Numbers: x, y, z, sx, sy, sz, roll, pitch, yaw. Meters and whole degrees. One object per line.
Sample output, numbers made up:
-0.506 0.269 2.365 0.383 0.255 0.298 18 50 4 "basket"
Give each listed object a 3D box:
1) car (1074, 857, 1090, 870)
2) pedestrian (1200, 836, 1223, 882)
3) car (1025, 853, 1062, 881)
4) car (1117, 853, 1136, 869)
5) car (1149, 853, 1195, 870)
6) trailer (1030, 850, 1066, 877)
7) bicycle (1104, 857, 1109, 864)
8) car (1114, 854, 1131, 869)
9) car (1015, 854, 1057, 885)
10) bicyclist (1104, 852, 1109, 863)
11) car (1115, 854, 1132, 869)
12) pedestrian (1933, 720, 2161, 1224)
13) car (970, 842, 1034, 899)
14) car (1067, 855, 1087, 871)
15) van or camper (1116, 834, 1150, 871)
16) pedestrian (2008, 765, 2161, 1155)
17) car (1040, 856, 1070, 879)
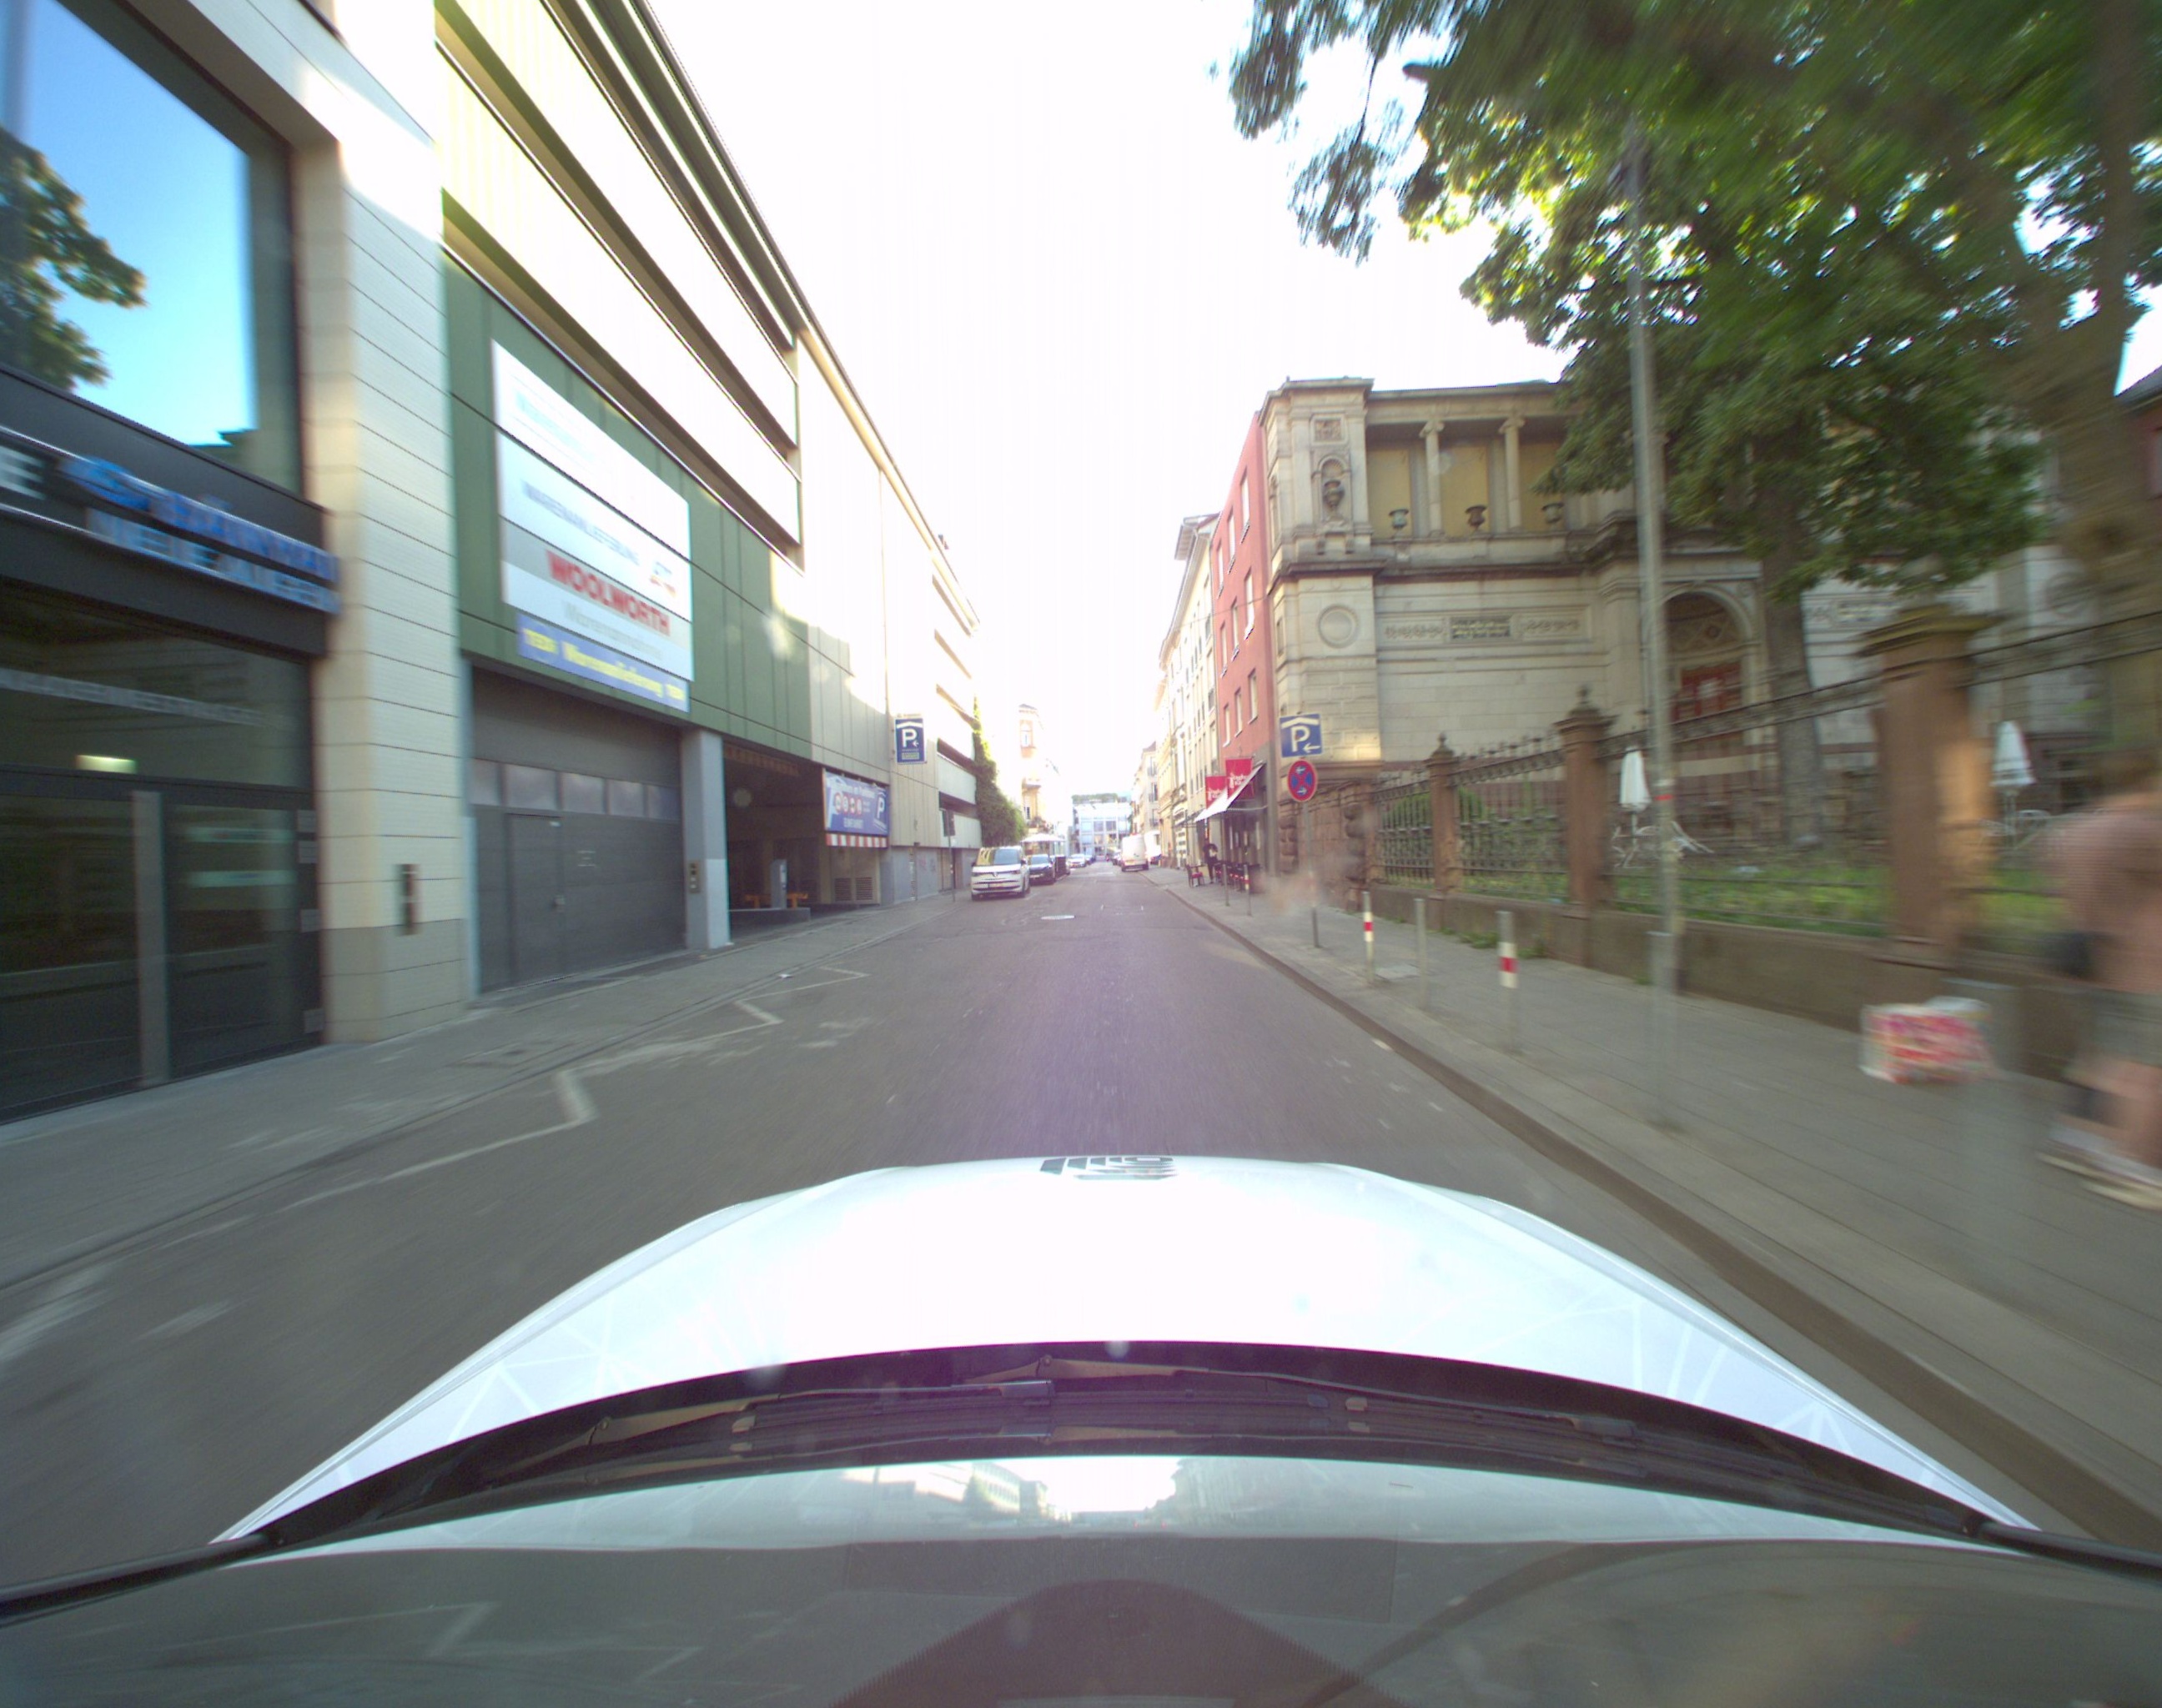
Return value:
0.109 1.300 113.154 1.986 1.684 4.002 -2 -1 2 "car"
4.920 0.186 30.797 0.659 1.666 0.624 -4 0 1 "pedestrian"
-2.103 0.715 46.647 1.877 1.453 4.000 -2 0 0 "car"
4.900 0.770 88.572 1.986 1.684 4.002 -2 -1 2 "car"
8.264 0.669 74.295 3.972 1.420 1.657 -2 -1 1 "car"
-2.033 0.623 51.180 1.987 1.557 4.000 -2 -1 0 "trailer"
4.814 1.194 152.959 0.971 1.280 2.755 -2 -1 2 "bicycle"
5.072 0.937 100.418 1.986 1.684 4.002 -2 -1 2 "car"
-2.282 0.788 42.037 1.877 1.453 4.000 -2 0 0 "car"
4.783 0.654 152.771 0.986 1.868 0.708 -2 -1 1 "bicyclist"
4.969 0.871 95.627 1.986 1.684 4.002 -2 -1 2 "car"
3.733 0.380 2.971 0.483 1.658 0.617 -4 0 -6 "pedestrian"
-2.901 0.591 30.737 1.877 1.912 4.747 -2 0 0 "car"
-0.395 0.982 90.194 1.986 1.684 4.002 -2 -1 2 "car"
4.057 -0.086 64.015 2.250 2.607 5.114 -6 -1 2 "van or camper"
4.481 0.387 3.267 0.748 1.499 0.618 -4 0 -4 "pedestrian"
-1.739 0.871 55.531 1.877 1.453 4.000 -2 0 0 "car"
